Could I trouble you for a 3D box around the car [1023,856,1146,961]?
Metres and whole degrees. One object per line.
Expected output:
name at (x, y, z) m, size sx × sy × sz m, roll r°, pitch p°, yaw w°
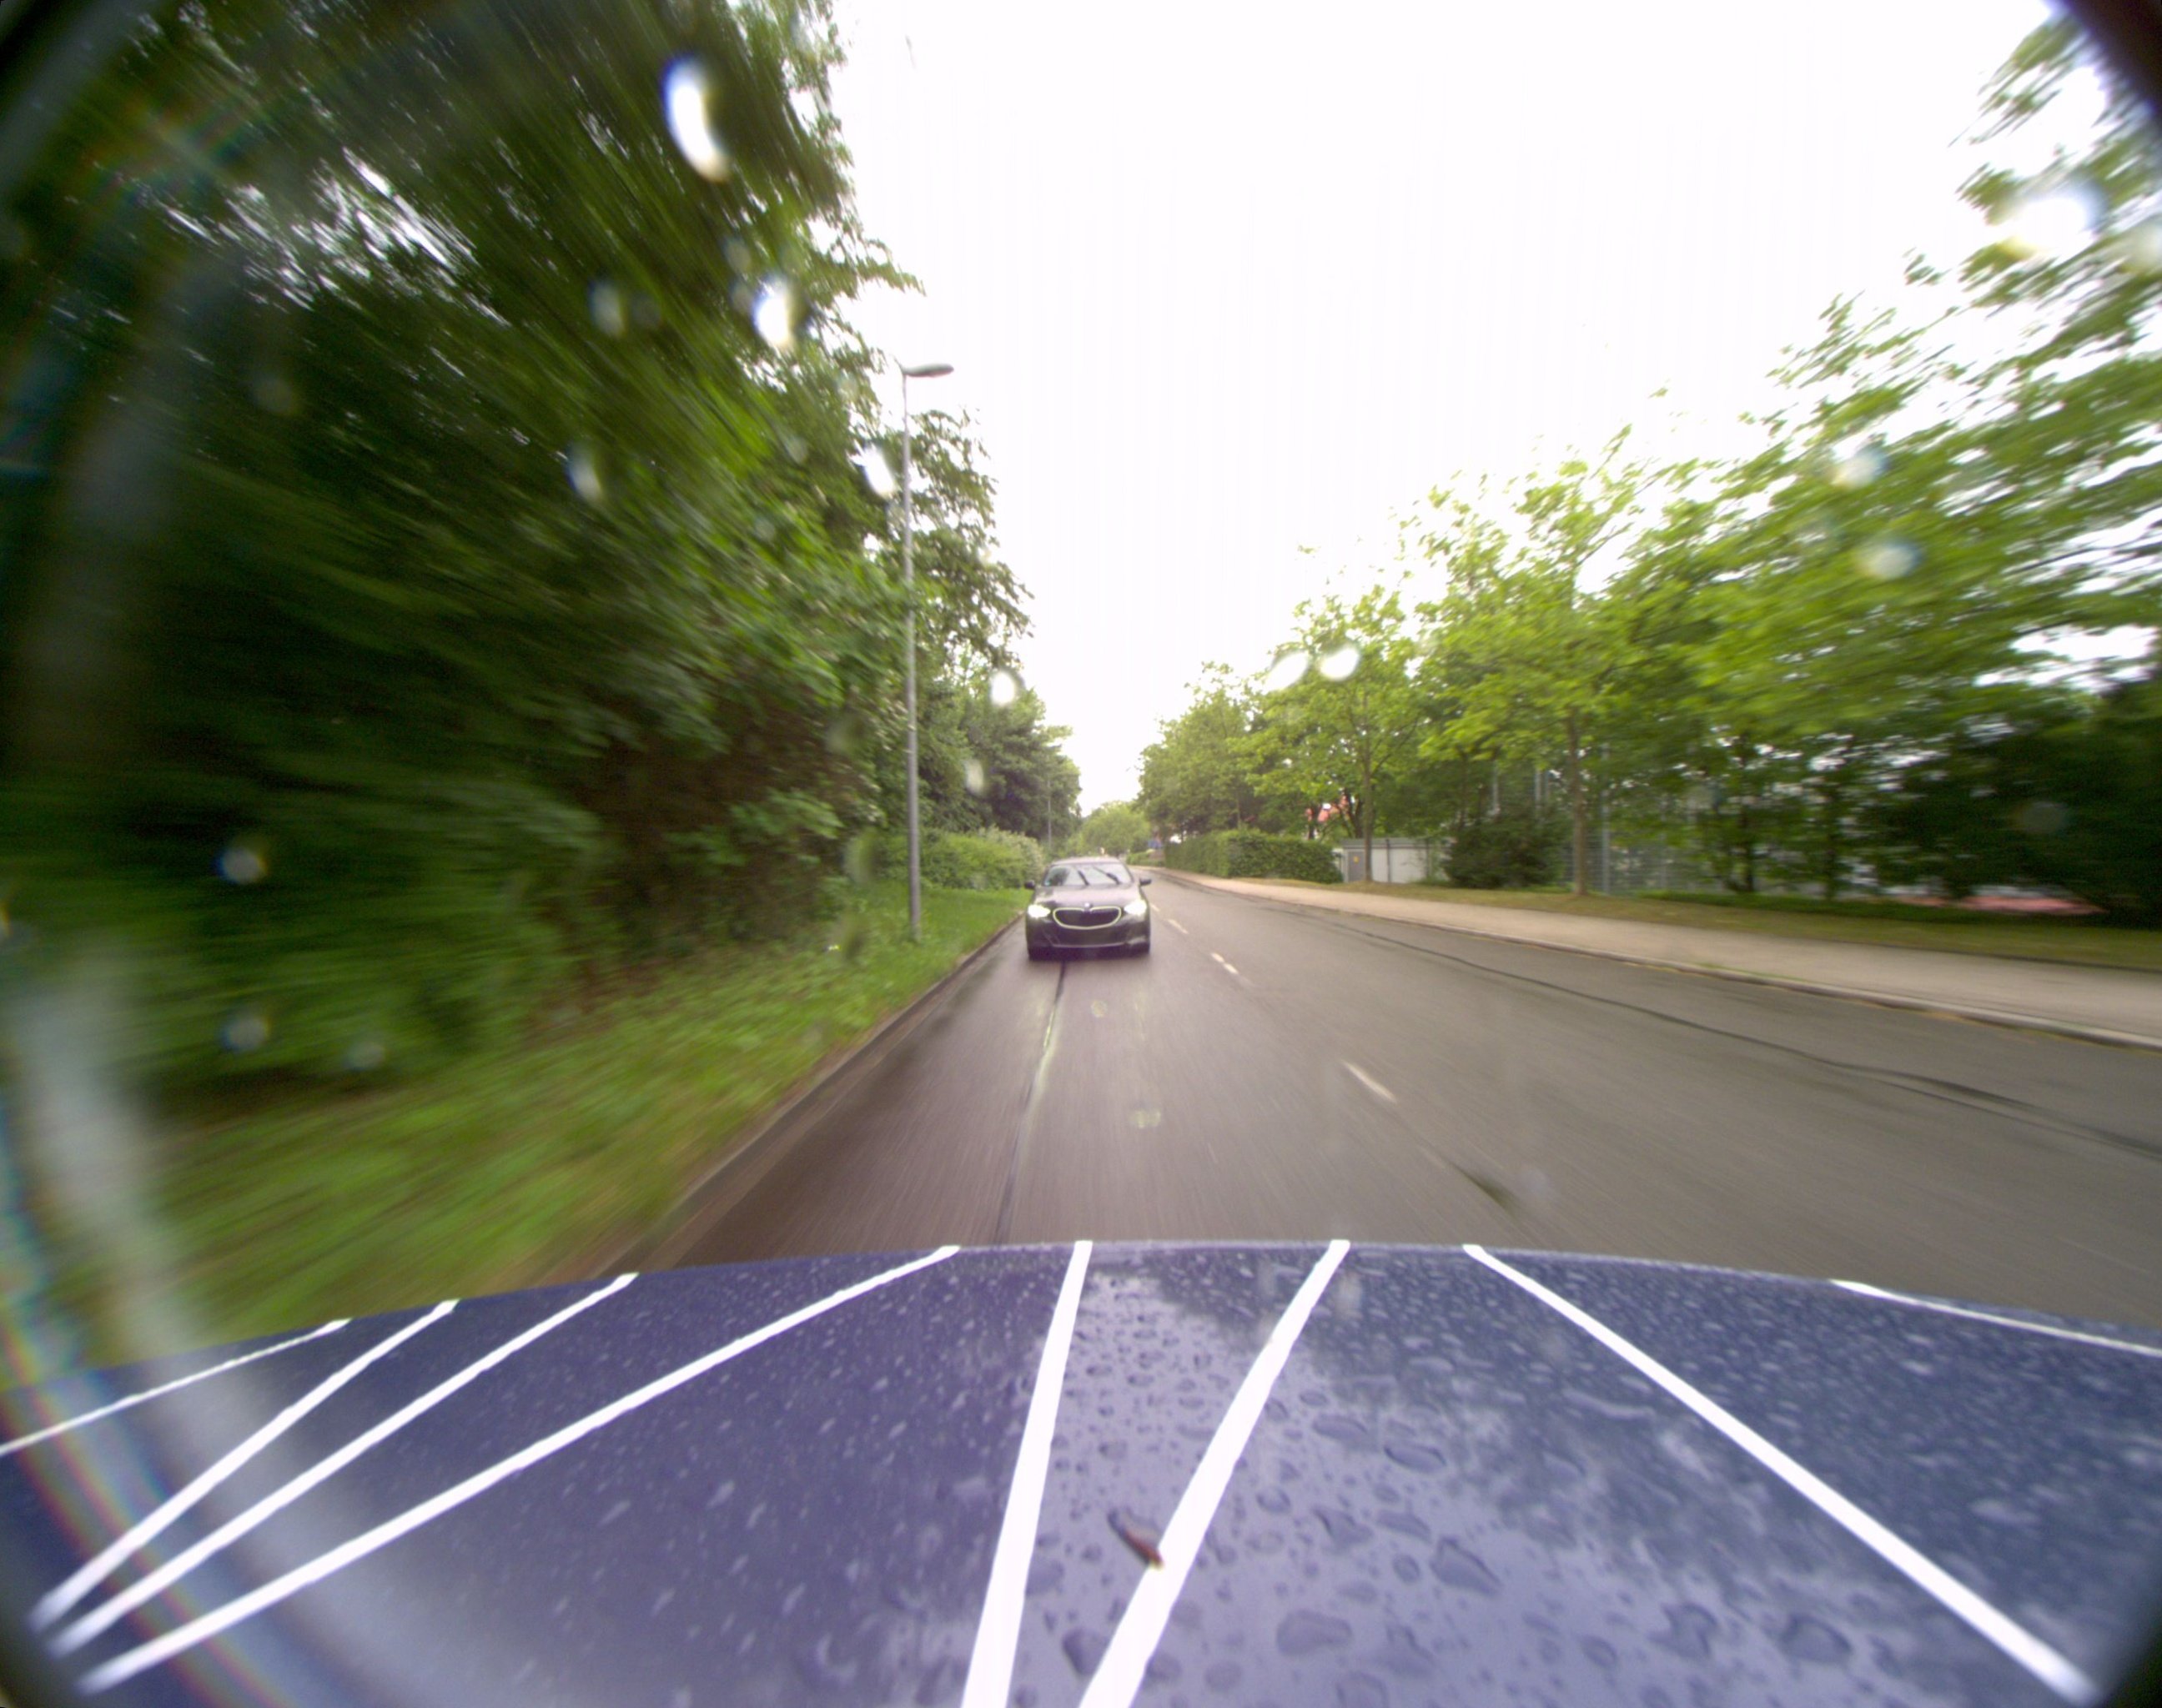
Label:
car at (0.053, 0.841, 13.863) m, size 1.832 × 1.499 × 4.497 m, roll -2°, pitch 0°, yaw 0°
